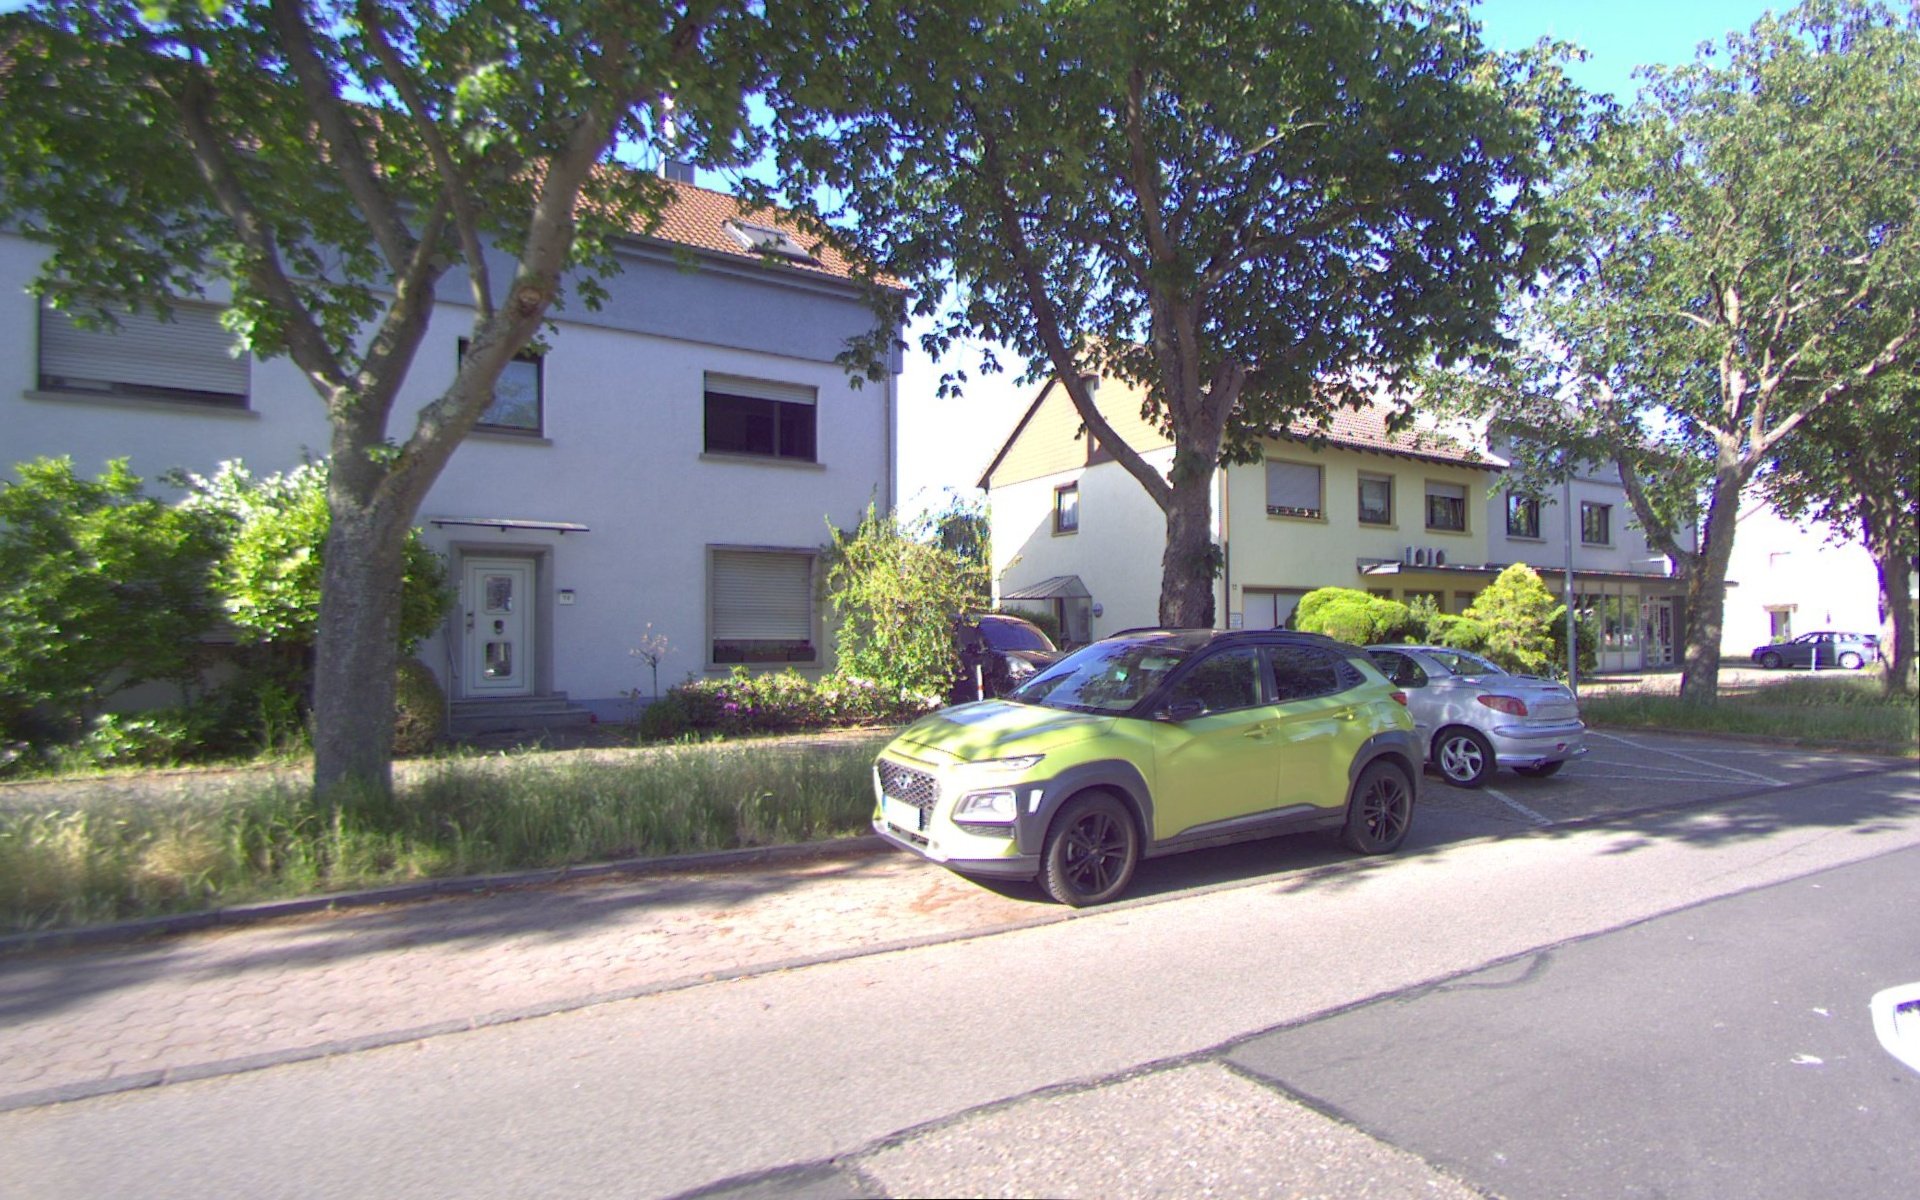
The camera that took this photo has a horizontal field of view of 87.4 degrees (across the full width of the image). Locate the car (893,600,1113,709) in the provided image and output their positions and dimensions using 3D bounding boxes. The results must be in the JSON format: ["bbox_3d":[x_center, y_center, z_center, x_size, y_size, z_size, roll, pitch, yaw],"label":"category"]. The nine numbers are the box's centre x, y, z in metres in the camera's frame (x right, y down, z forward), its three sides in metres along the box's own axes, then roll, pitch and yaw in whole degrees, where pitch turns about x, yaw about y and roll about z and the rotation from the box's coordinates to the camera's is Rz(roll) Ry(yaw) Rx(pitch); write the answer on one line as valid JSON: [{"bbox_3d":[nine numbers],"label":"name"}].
[{"bbox_3d":[0.675,0.888,18.628,1.979,1.737,4.207,-1,0,-34],"label":"car"}]

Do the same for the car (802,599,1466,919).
[{"bbox_3d":[1.292,0.877,7.034,4.331,1.630,1.930,2,-1,-29],"label":"car"}]

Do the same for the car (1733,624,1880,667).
[{"bbox_3d":[36.633,1.913,43.575,1.978,1.639,4.528,-1,0,-33],"label":"car"}]

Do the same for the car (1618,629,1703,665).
[{"bbox_3d":[27.949,1.862,40.080,3.470,1.253,1.533,-1,0,-31],"label":"car"}]

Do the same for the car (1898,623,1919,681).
[{"bbox_3d":[27.599,1.425,26.004,1.819,1.531,4.534,-1,0,-29],"label":"car"}]

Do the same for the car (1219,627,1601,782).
[{"bbox_3d":[4.872,1.023,11.383,1.593,1.319,3.746,-1,0,-30],"label":"car"}]
